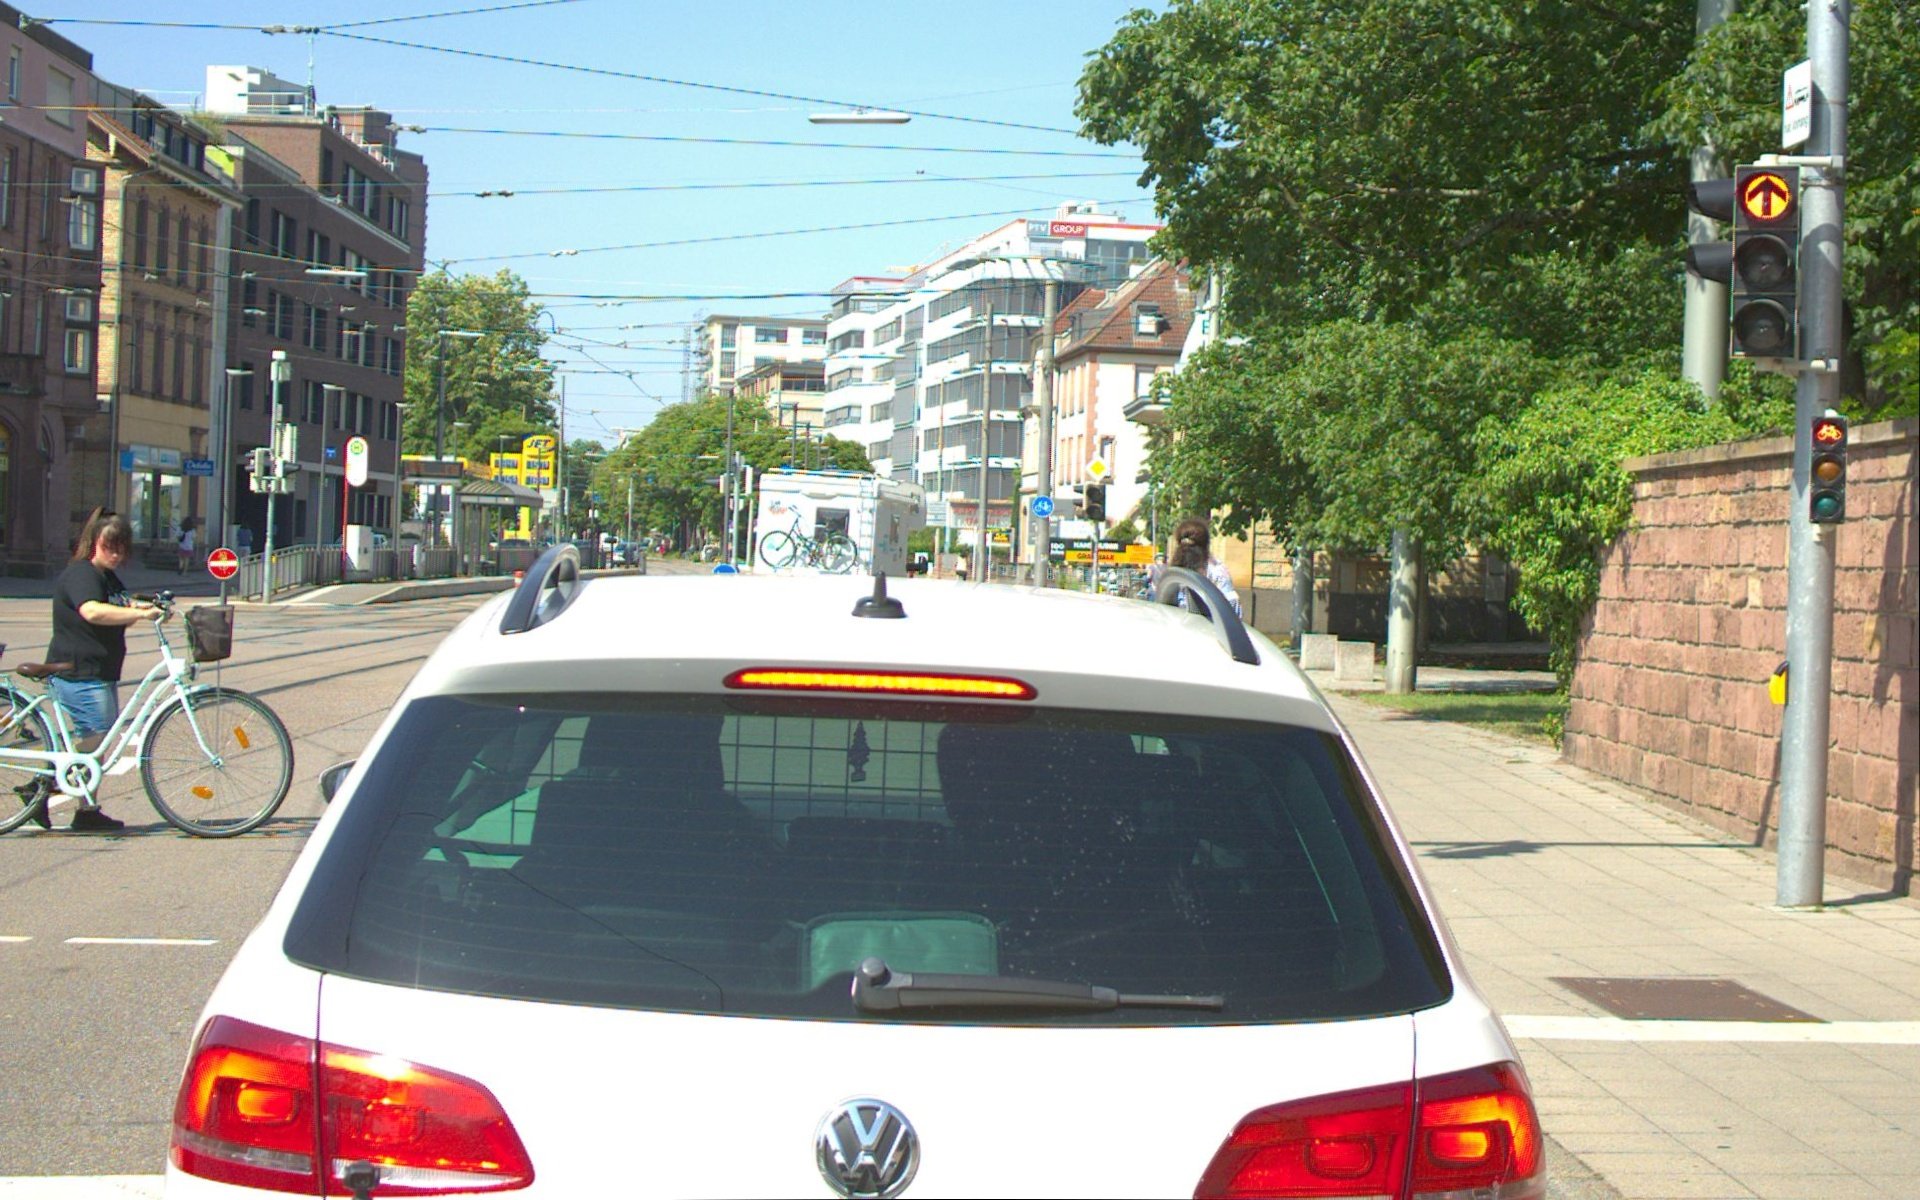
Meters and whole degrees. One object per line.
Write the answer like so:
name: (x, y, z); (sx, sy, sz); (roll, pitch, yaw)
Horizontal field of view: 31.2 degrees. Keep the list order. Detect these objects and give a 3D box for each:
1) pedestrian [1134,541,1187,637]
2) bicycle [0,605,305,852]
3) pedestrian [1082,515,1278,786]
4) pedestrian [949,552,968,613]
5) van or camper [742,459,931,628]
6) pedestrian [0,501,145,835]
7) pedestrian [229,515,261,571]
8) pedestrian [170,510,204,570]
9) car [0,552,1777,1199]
pedestrian: (3.636, -0.196, 62.368); (0.862, 1.737, 0.974); (0, 0, 9)
bicycle: (-4.112, 0.585, 15.992); (2.019, 1.086, 0.710); (2, 1, -15)
pedestrian: (1.388, 0.305, 21.561); (0.954, 1.645, 0.974); (0, 0, 23)
pedestrian: (-0.042, -0.675, 130.814); (0.690, 2.317, 1.232); (0, 0, 1)
van or camper: (-2.301, -1.040, 65.995); (2.568, 3.082, 5.700); (0, 0, 9)
pedestrian: (-4.321, 0.313, 16.563); (0.745, 1.566, 0.675); (0, 2, -14)
pedestrian: (-22.209, -1.764, 106.791); (0.861, 1.737, 0.975); (0, 0, -6)
pedestrian: (-22.663, -1.766, 100.801); (0.861, 1.737, 0.975); (0, 0, -6)
car: (-0.139, 0.679, 5.426); (1.808, 1.443, 4.000); (2, 1, -1)
